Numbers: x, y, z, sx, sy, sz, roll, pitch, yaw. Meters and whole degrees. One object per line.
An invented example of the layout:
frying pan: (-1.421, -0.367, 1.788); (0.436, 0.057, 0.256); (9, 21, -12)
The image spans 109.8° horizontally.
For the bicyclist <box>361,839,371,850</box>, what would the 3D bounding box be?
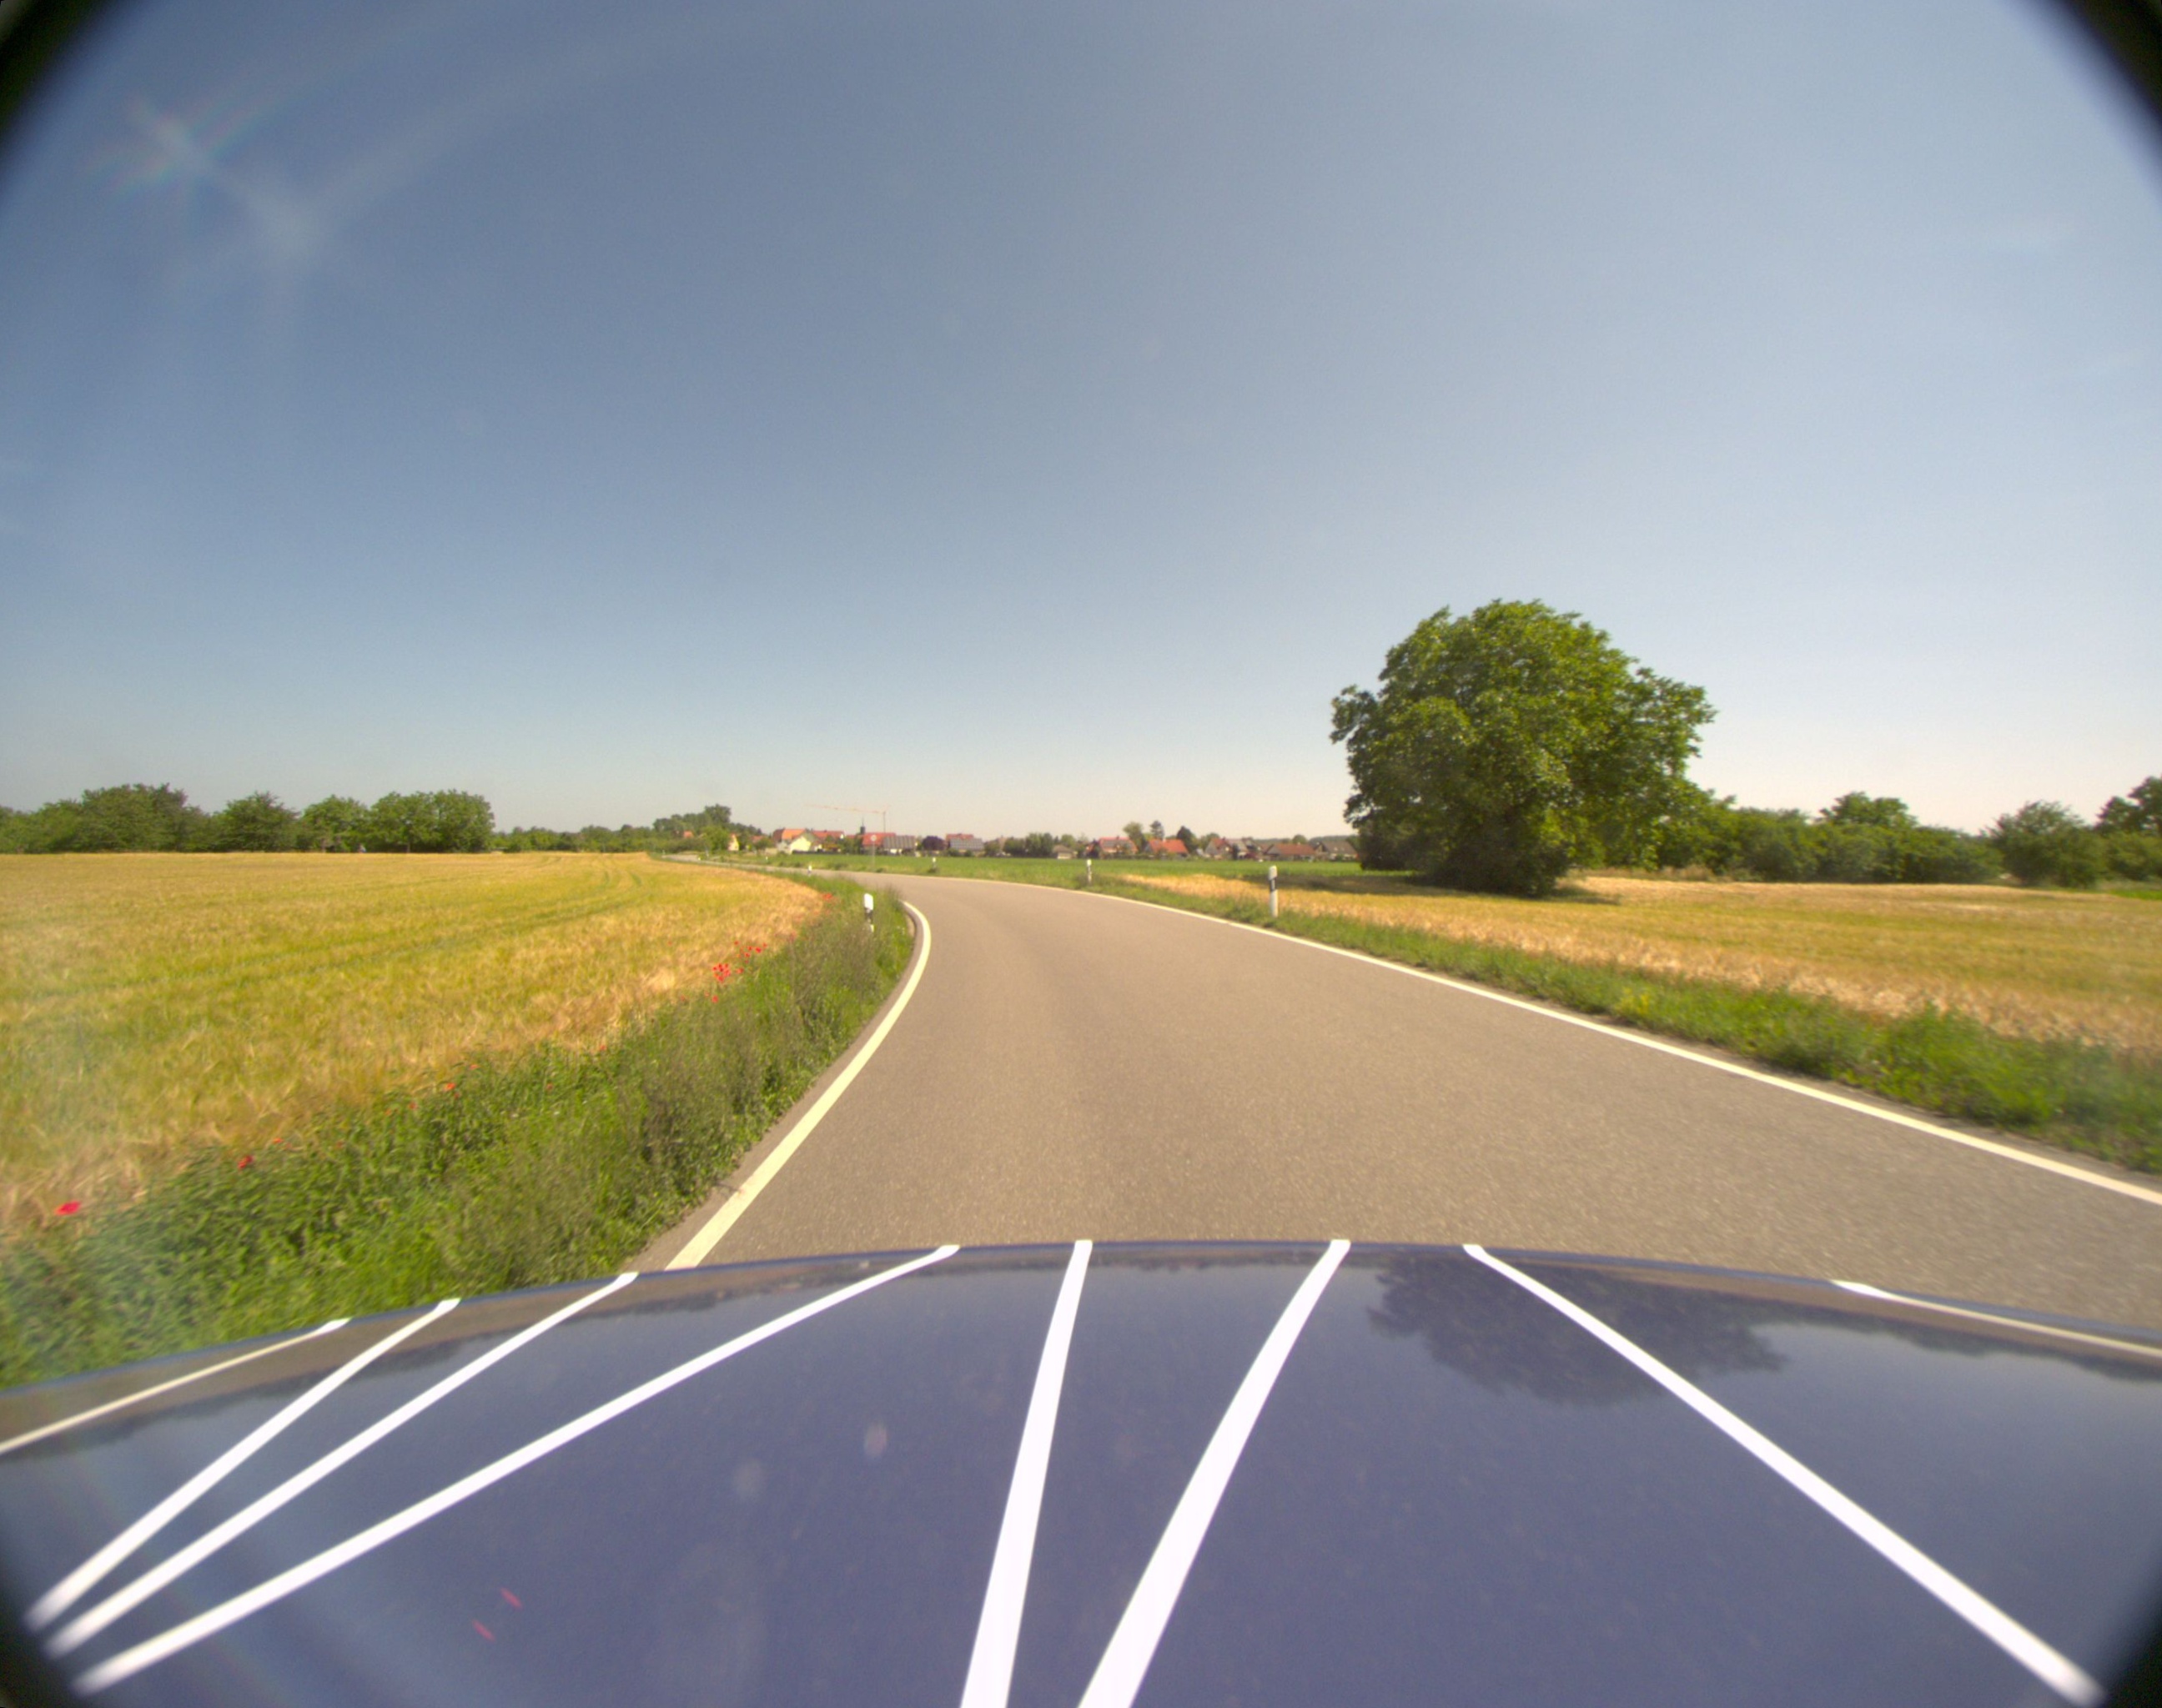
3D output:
bicyclist: (-101.063, -1.308, 107.393); (0.673, 1.565, 0.737); (1, 1, 23)

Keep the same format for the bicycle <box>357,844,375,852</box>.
bicycle: (-101.069, -0.912, 107.400); (0.520, 1.109, 1.772); (1, 1, 23)
